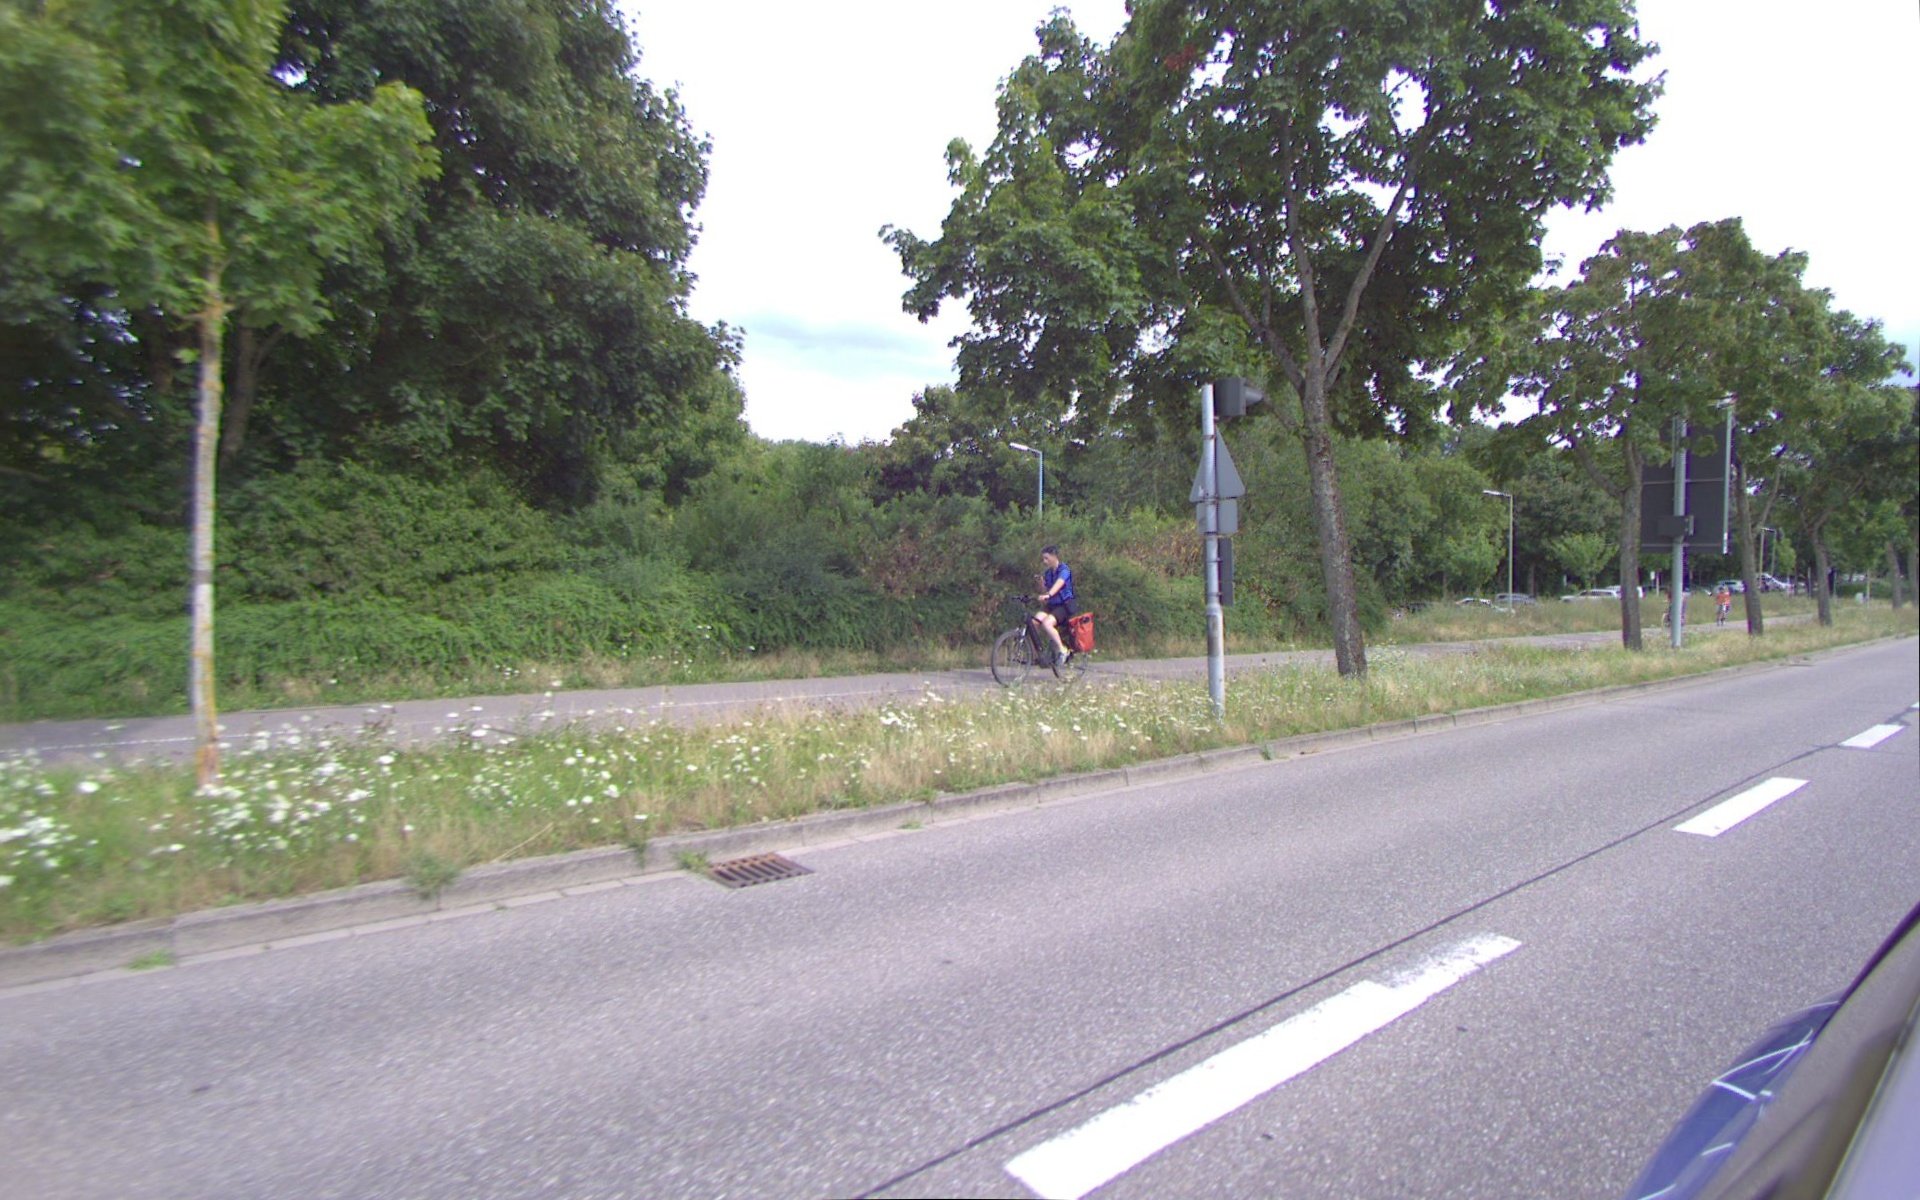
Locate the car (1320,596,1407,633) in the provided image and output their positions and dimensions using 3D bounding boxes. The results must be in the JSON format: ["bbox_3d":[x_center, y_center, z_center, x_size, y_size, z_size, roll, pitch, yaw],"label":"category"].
[{"bbox_3d":[22.168,0.760,55.691,1.966,1.816,3.993,-1,3,-42],"label":"car"}]

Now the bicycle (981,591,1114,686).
[{"bbox_3d":[1.195,0.473,13.511,1.948,1.162,0.574,0,2,-42],"label":"bicycle"}]

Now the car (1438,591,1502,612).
[{"bbox_3d":[32.681,0.089,64.919,3.438,1.205,1.337,2,2,43],"label":"car"}]

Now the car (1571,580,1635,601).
[{"bbox_3d":[49.899,-0.760,78.569,3.987,1.461,1.626,4,3,43],"label":"car"}]

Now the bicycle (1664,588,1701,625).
[{"bbox_3d":[24.142,0.210,33.794,2.193,1.161,0.514,-1,3,-42],"label":"bicycle"}]

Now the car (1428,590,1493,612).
[{"bbox_3d":[31.369,0.038,63.449,3.438,1.205,1.337,2,2,43],"label":"car"}]

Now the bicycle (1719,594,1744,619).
[{"bbox_3d":[32.102,0.257,42.102,1.752,0.976,0.514,-1,3,-42],"label":"bicycle"}]

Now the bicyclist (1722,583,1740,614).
[{"bbox_3d":[32.075,-0.076,42.103,0.442,1.298,0.539,-1,1,-42],"label":"bicyclist"}]

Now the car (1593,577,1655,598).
[{"bbox_3d":[54.899,-1.074,83.706,3.987,1.574,1.626,4,3,43],"label":"car"}]

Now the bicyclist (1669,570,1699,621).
[{"bbox_3d":[24.231,-0.154,33.876,0.767,1.678,0.653,-1,1,-42],"label":"bicyclist"}]

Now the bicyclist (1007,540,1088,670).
[{"bbox_3d":[1.175,0.050,13.555,0.861,1.678,0.653,-1,1,-42],"label":"bicyclist"}]
